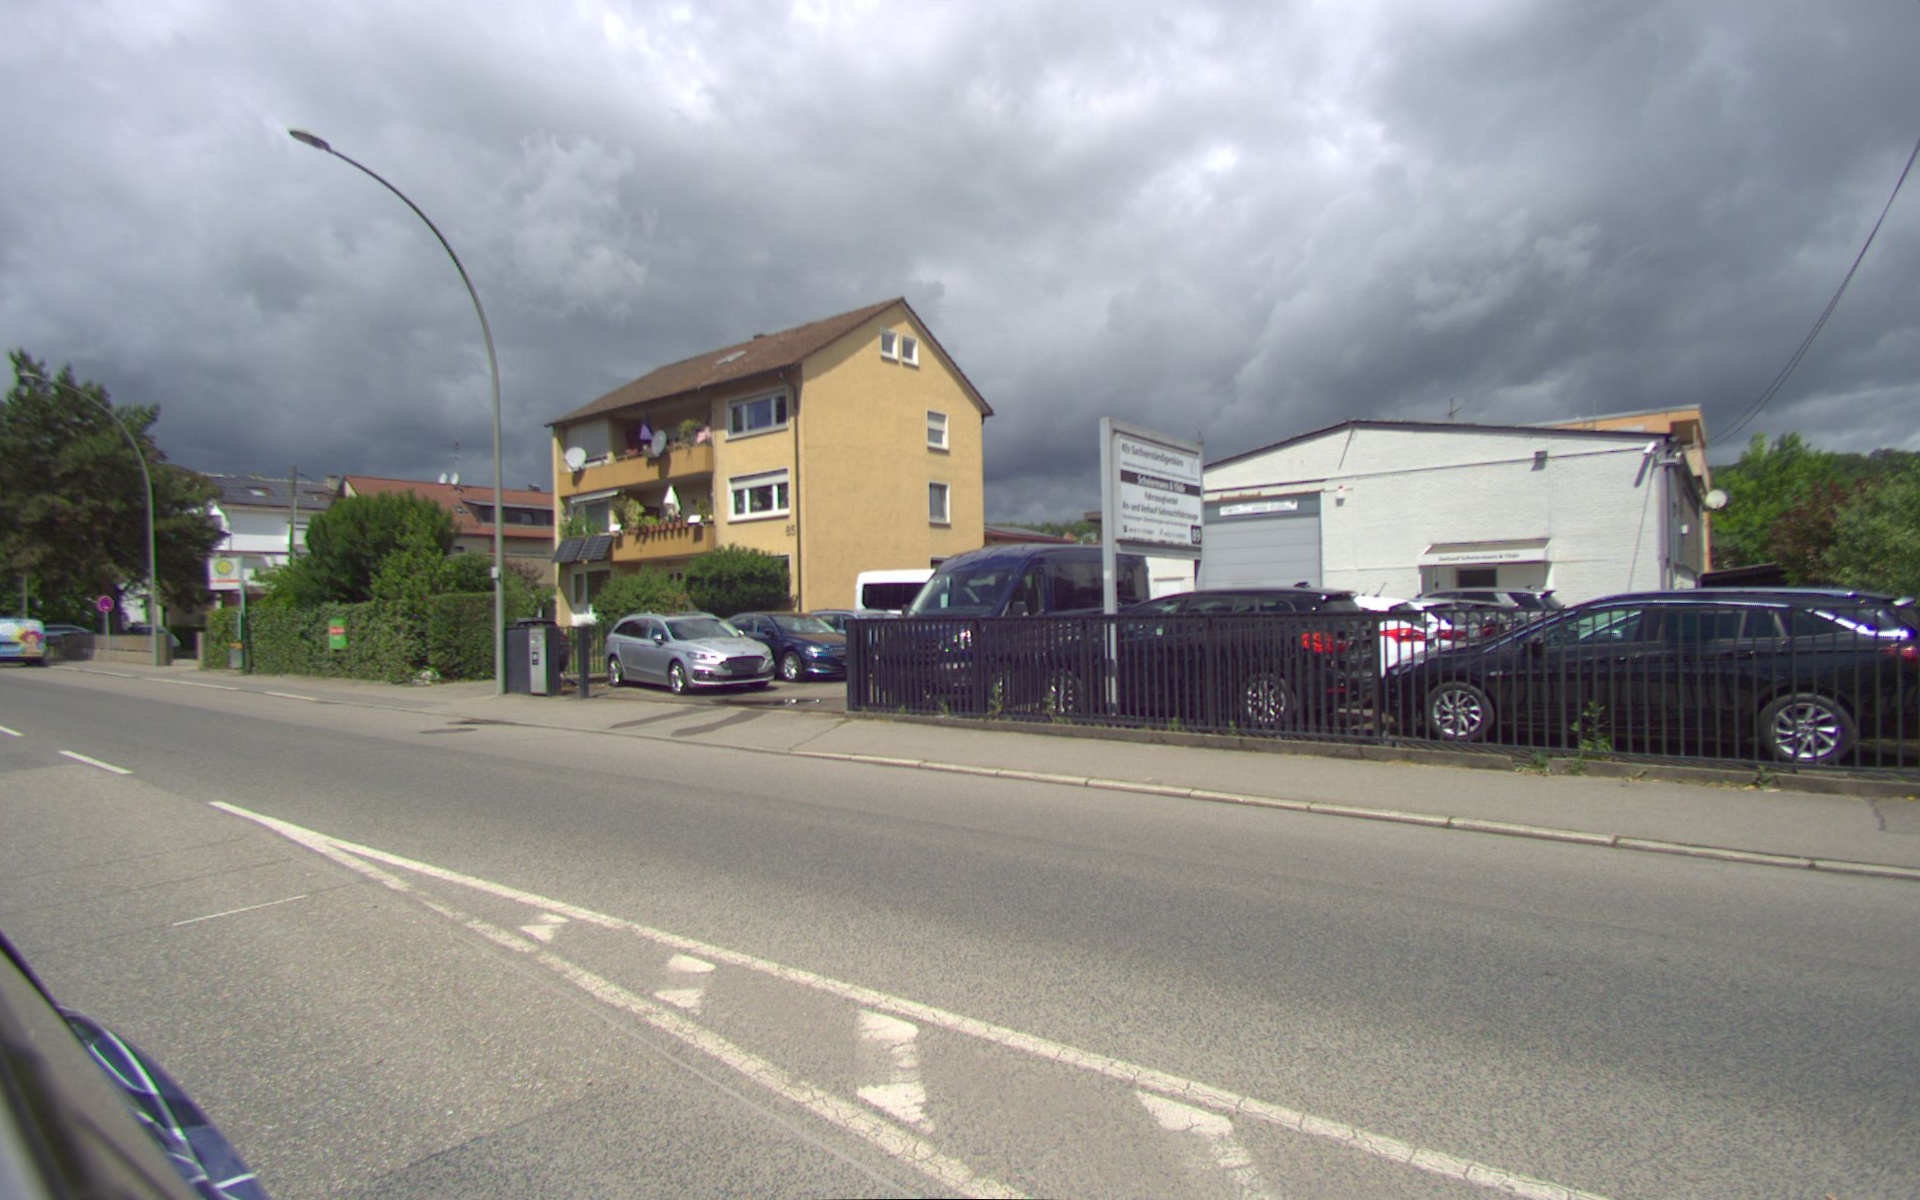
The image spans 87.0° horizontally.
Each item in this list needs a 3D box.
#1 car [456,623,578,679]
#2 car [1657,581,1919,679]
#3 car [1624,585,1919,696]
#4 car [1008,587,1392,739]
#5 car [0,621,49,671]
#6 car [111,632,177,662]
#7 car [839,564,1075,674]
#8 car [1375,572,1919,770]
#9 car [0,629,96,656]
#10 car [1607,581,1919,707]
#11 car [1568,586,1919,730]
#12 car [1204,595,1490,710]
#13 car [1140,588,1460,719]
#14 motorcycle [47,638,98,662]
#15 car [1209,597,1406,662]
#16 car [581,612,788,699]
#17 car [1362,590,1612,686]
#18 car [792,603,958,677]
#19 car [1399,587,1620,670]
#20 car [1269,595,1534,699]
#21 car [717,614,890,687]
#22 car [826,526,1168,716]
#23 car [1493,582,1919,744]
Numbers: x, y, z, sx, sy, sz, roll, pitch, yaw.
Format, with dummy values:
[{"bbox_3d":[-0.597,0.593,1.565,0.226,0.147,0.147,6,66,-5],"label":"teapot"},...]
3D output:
[{"bbox_3d":[-12.487,1.381,28.422,1.823,1.437,4.335,1,-2,-43],"label":"car"},{"bbox_3d":[15.146,0.547,18.406,3.990,1.630,1.761,-2,-2,34],"label":"car"},{"bbox_3d":[13.236,0.640,16.490,3.990,1.630,1.761,-2,-2,34],"label":"car"},{"bbox_3d":[2.943,0.733,12.792,4.276,1.607,2.013,-2,-2,37],"label":"car"},{"bbox_3d":[-37.749,1.837,39.987,4.890,1.868,1.815,-3,-5,40],"label":"car"},{"bbox_3d":[-43.885,2.522,54.438,4.079,1.555,1.751,-2,-2,36],"label":"car"},{"bbox_3d":[-0.212,0.551,26.171,6.134,2.514,2.386,-2,-3,42],"label":"car"},{"bbox_3d":[6.519,0.603,9.767,4.260,1.518,2.134,-2,-2,37],"label":"car"},{"bbox_3d":[-58.929,2.705,65.005,1.970,1.563,4.960,-1,-1,37],"label":"car"},{"bbox_3d":[11.773,0.607,14.564,3.993,1.630,1.759,-2,-2,37],"label":"car"},{"bbox_3d":[10.243,0.699,13.004,3.993,1.630,1.759,-2,-2,37],"label":"car"},{"bbox_3d":[6.154,0.804,16.245,3.990,1.630,1.761,-2,-2,34],"label":"car"},{"bbox_3d":[4.779,0.717,14.423,3.990,1.630,1.761,-2,-2,34],"label":"car"},{"bbox_3d":[-44.950,2.531,51.301,1.845,1.174,0.827,0,-2,-34],"label":"motorcycle"},{"bbox_3d":[9.960,0.856,29.215,4.998,1.726,2.030,-2,-2,37],"label":"car"},{"bbox_3d":[-5.656,1.042,20.247,1.968,1.497,5.349,0,-2,-40],"label":"car"},{"bbox_3d":[9.879,0.704,19.077,3.990,1.630,1.761,-2,-2,34],"label":"car"},{"bbox_3d":[-2.121,0.919,24.100,1.821,1.589,4.338,1,-2,-39],"label":"car"},{"bbox_3d":[11.692,0.616,21.626,3.990,1.630,1.761,-2,-2,34],"label":"car"},{"bbox_3d":[7.686,0.788,17.733,3.990,1.630,1.761,-2,-2,34],"label":"car"},{"bbox_3d":[-3.528,1.055,22.217,1.821,1.437,4.338,1,-2,-39],"label":"car"},{"bbox_3d":[0.851,0.338,16.508,2.475,2.515,5.977,-2,-2,39],"label":"car"},{"bbox_3d":[8.485,0.631,11.227,4.260,1.518,2.134,-2,-2,37],"label":"car"}]
